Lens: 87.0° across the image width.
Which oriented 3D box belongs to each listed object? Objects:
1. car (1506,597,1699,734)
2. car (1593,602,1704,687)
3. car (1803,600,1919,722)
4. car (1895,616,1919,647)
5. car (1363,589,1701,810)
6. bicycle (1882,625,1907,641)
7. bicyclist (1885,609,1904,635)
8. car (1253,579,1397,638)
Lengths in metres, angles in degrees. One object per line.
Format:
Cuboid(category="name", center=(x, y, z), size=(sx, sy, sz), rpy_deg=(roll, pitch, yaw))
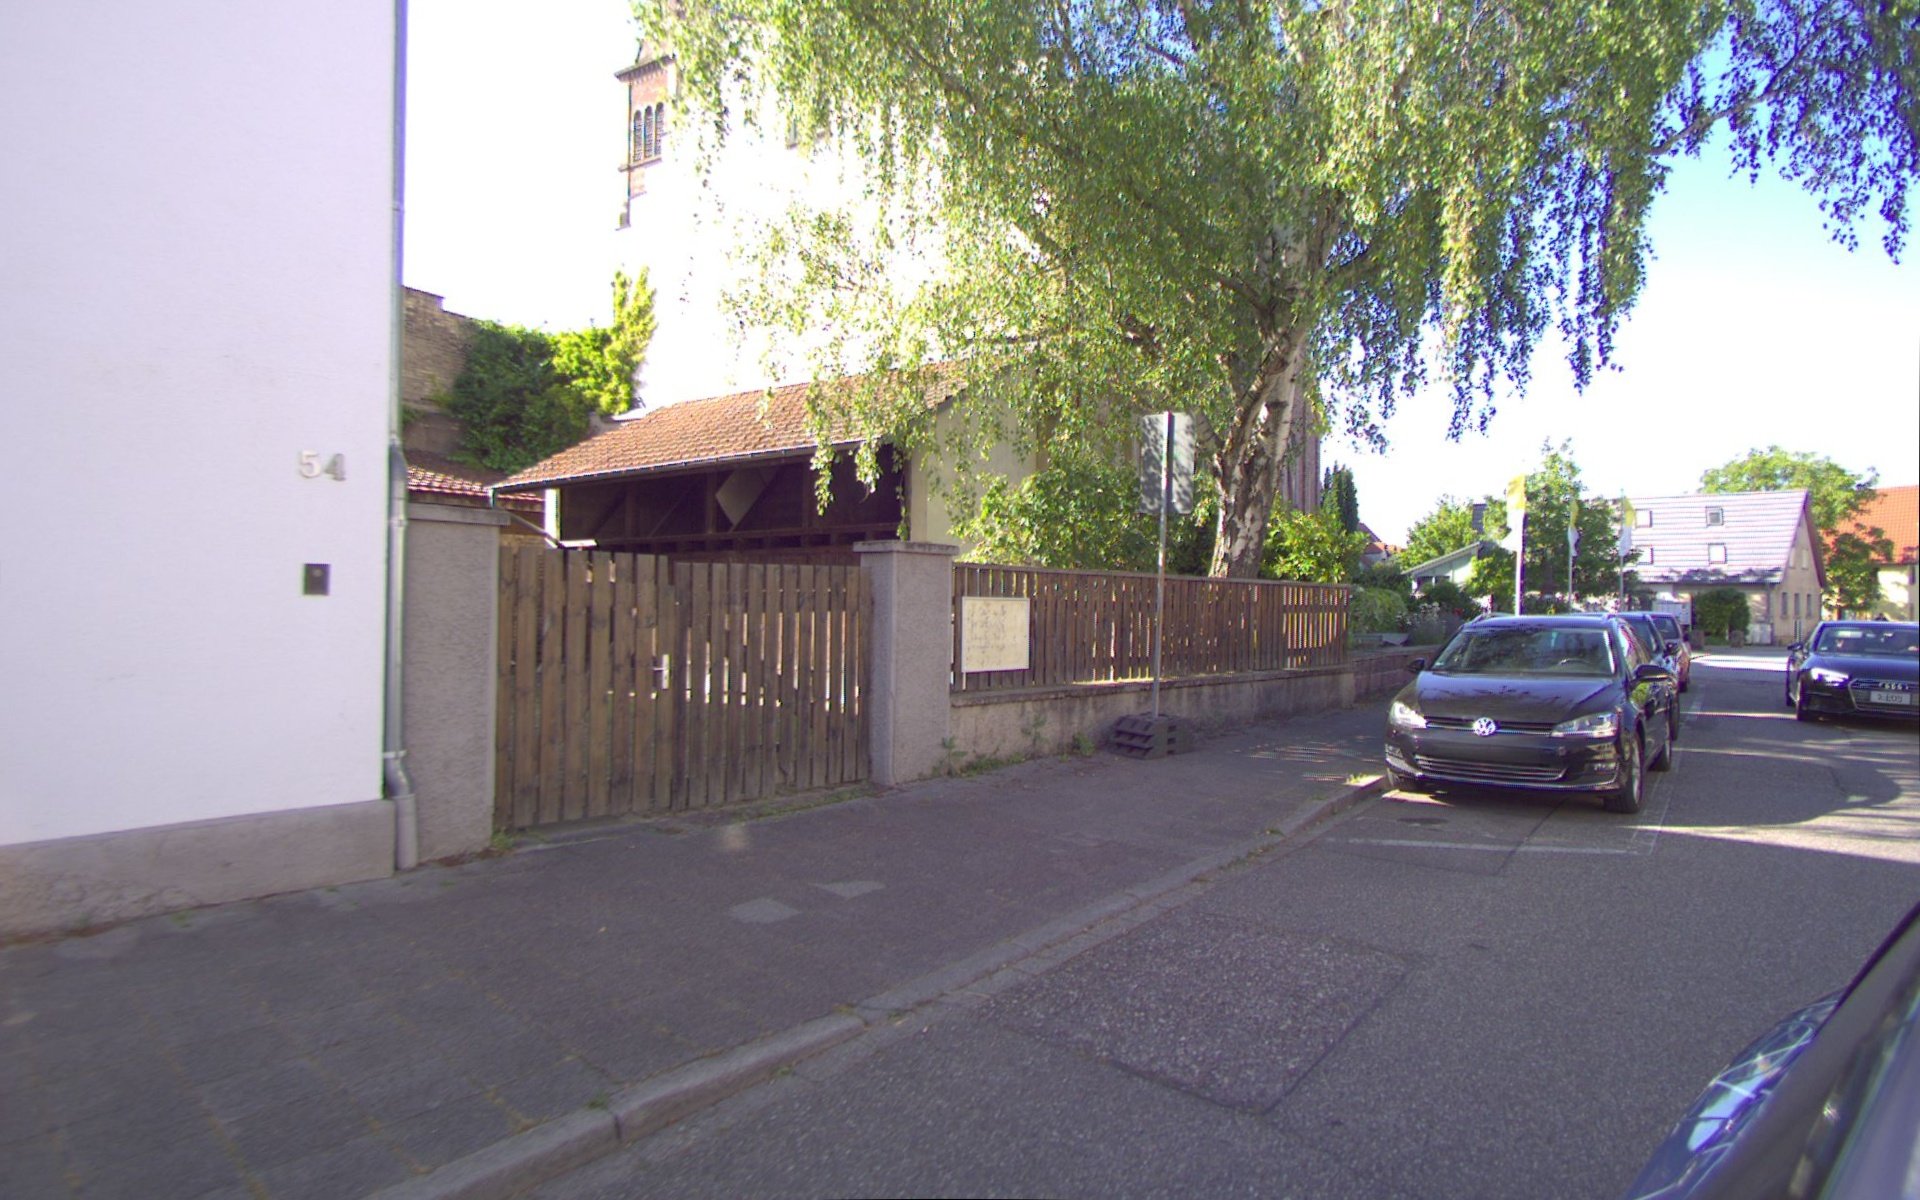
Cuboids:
Cuboid(category="car", center=(8.381, 0.731, 13.034), size=(1.803, 1.454, 4.228), rpy_deg=(0, -1, 37))
Cuboid(category="car", center=(13.600, 0.812, 19.895), size=(1.644, 1.498, 3.880), rpy_deg=(0, -1, 37))
Cuboid(category="car", center=(13.215, 0.799, 14.404), size=(1.800, 1.496, 4.281), rpy_deg=(2, 0, 39))
Cuboid(category="car", center=(46.199, 1.523, 48.083), size=(3.815, 1.420, 1.677), rpy_deg=(2, -1, -33))
Cuboid(category="car", center=(5.179, 0.689, 8.866), size=(1.805, 1.454, 4.221), rpy_deg=(0, -1, 41))
Cuboid(category="bicycle", center=(48.168, 1.707, 52.158), size=(1.765, 0.771, 0.583), rpy_deg=(2, 1, -35))
Cuboid(category="bicyclist", center=(48.175, 1.128, 52.176), size=(0.596, 1.337, 0.583), rpy_deg=(2, 1, -35))
Cuboid(category="car", center=(11.408, 0.221, 31.648), size=(3.883, 1.514, 1.883), rpy_deg=(5, 3, 32))
